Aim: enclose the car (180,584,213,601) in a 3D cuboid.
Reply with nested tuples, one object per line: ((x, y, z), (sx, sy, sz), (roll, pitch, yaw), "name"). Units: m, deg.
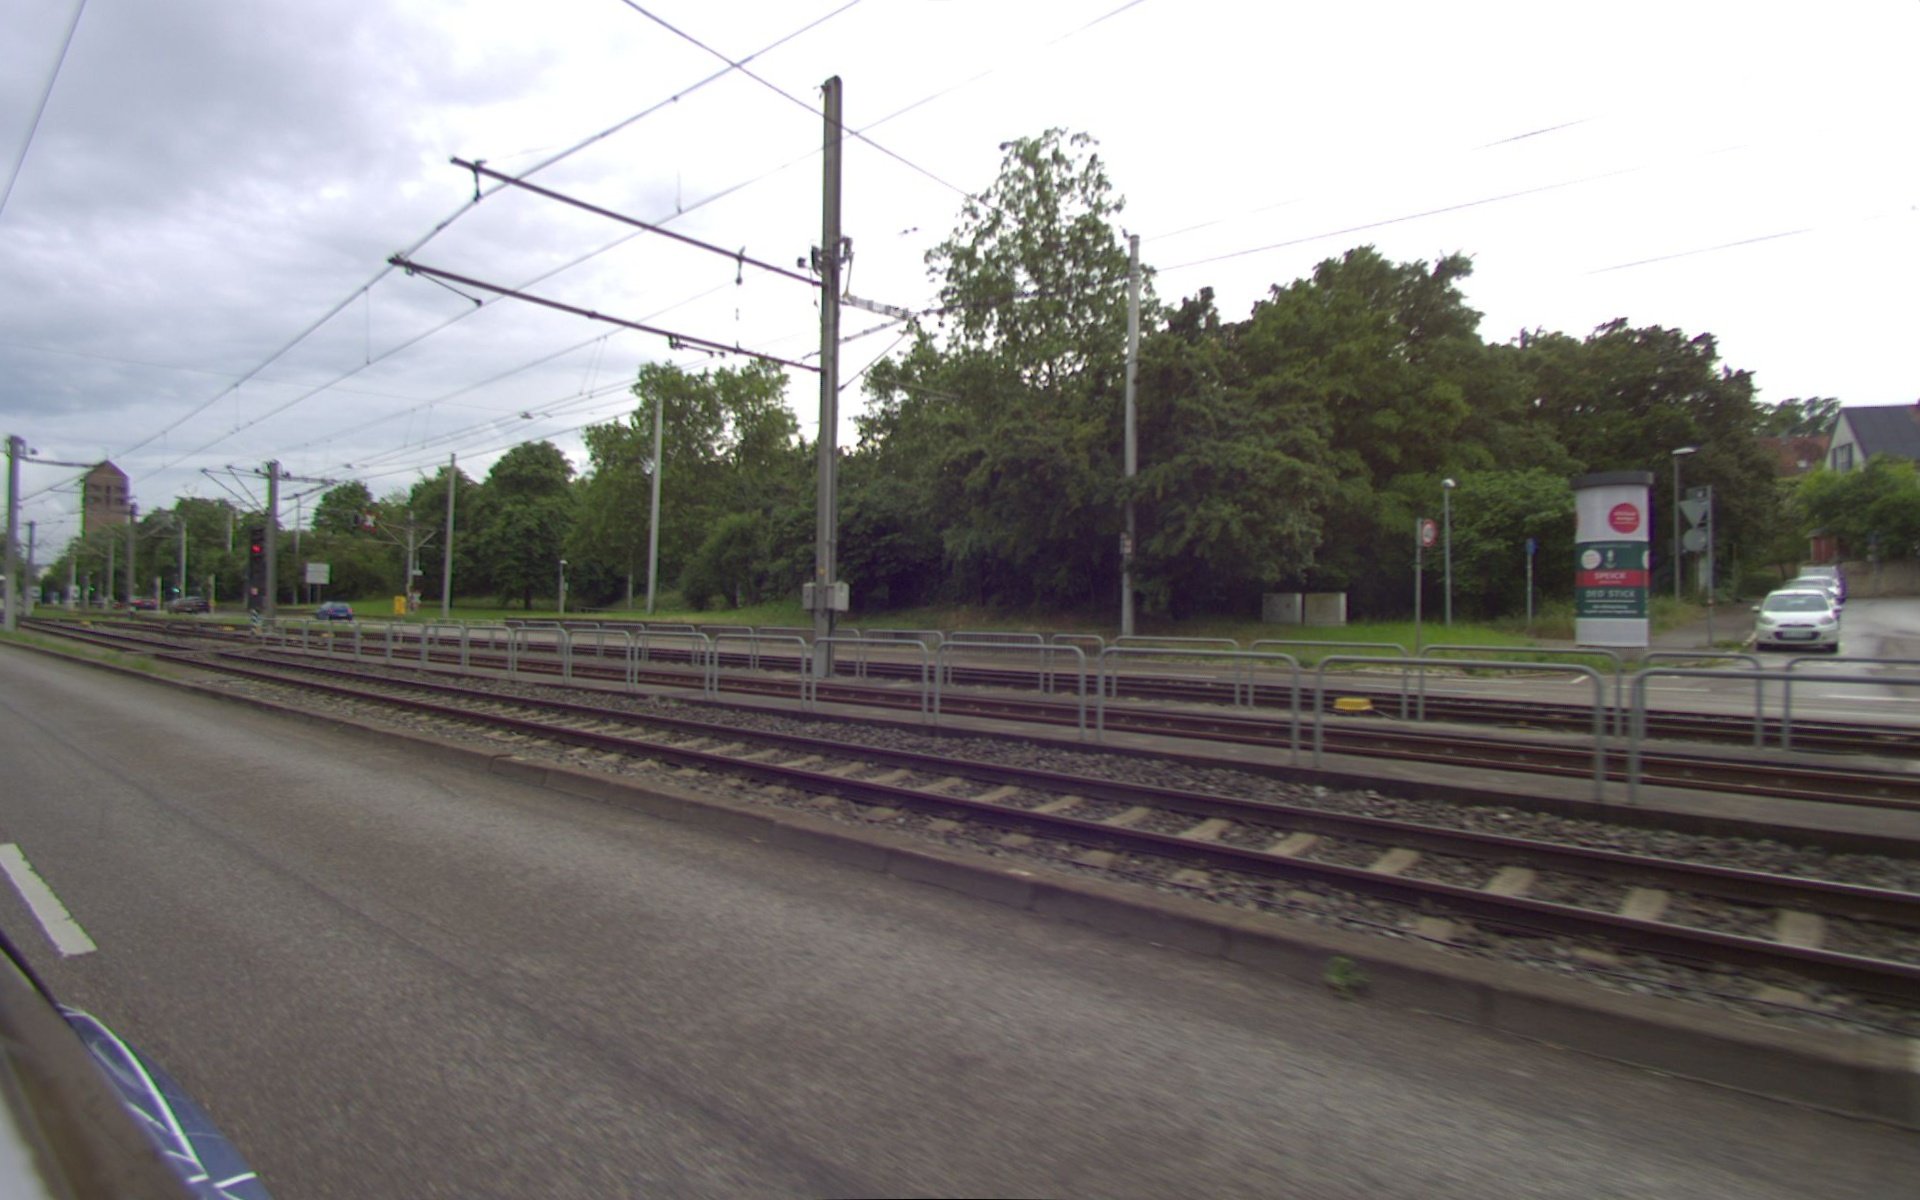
((-77.989, -0.795, 103.339), (4.849, 1.607, 1.926), (1, -1, 44), "car")

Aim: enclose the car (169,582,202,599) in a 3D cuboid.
((-73.146, -0.874, 95.540), (4.310, 1.497, 1.869), (1, -1, 44), "car")

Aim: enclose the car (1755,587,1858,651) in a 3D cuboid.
((21.859, 0.420, 26.220), (1.924, 1.464, 3.881), (1, 2, 39), "car")

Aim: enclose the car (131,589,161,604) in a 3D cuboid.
((-96.502, -0.414, 119.891), (5.159, 1.601, 2.066), (1, -1, 44), "car")

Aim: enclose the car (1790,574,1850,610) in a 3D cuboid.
((38.445, -0.395, 45.313), (1.944, 1.485, 4.214), (1, 2, 39), "car")

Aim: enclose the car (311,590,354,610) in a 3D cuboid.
((-45.822, -0.018, 73.915), (3.902, 1.408, 1.741), (1, -1, 44), "car")

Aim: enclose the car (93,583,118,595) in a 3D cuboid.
((-113.172, -1.492, 134.023), (4.681, 1.458, 1.906), (1, -1, 42), "car")

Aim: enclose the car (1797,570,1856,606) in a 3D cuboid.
((42.325, -0.631, 49.405), (1.947, 1.673, 4.095), (1, 2, 44), "car")
